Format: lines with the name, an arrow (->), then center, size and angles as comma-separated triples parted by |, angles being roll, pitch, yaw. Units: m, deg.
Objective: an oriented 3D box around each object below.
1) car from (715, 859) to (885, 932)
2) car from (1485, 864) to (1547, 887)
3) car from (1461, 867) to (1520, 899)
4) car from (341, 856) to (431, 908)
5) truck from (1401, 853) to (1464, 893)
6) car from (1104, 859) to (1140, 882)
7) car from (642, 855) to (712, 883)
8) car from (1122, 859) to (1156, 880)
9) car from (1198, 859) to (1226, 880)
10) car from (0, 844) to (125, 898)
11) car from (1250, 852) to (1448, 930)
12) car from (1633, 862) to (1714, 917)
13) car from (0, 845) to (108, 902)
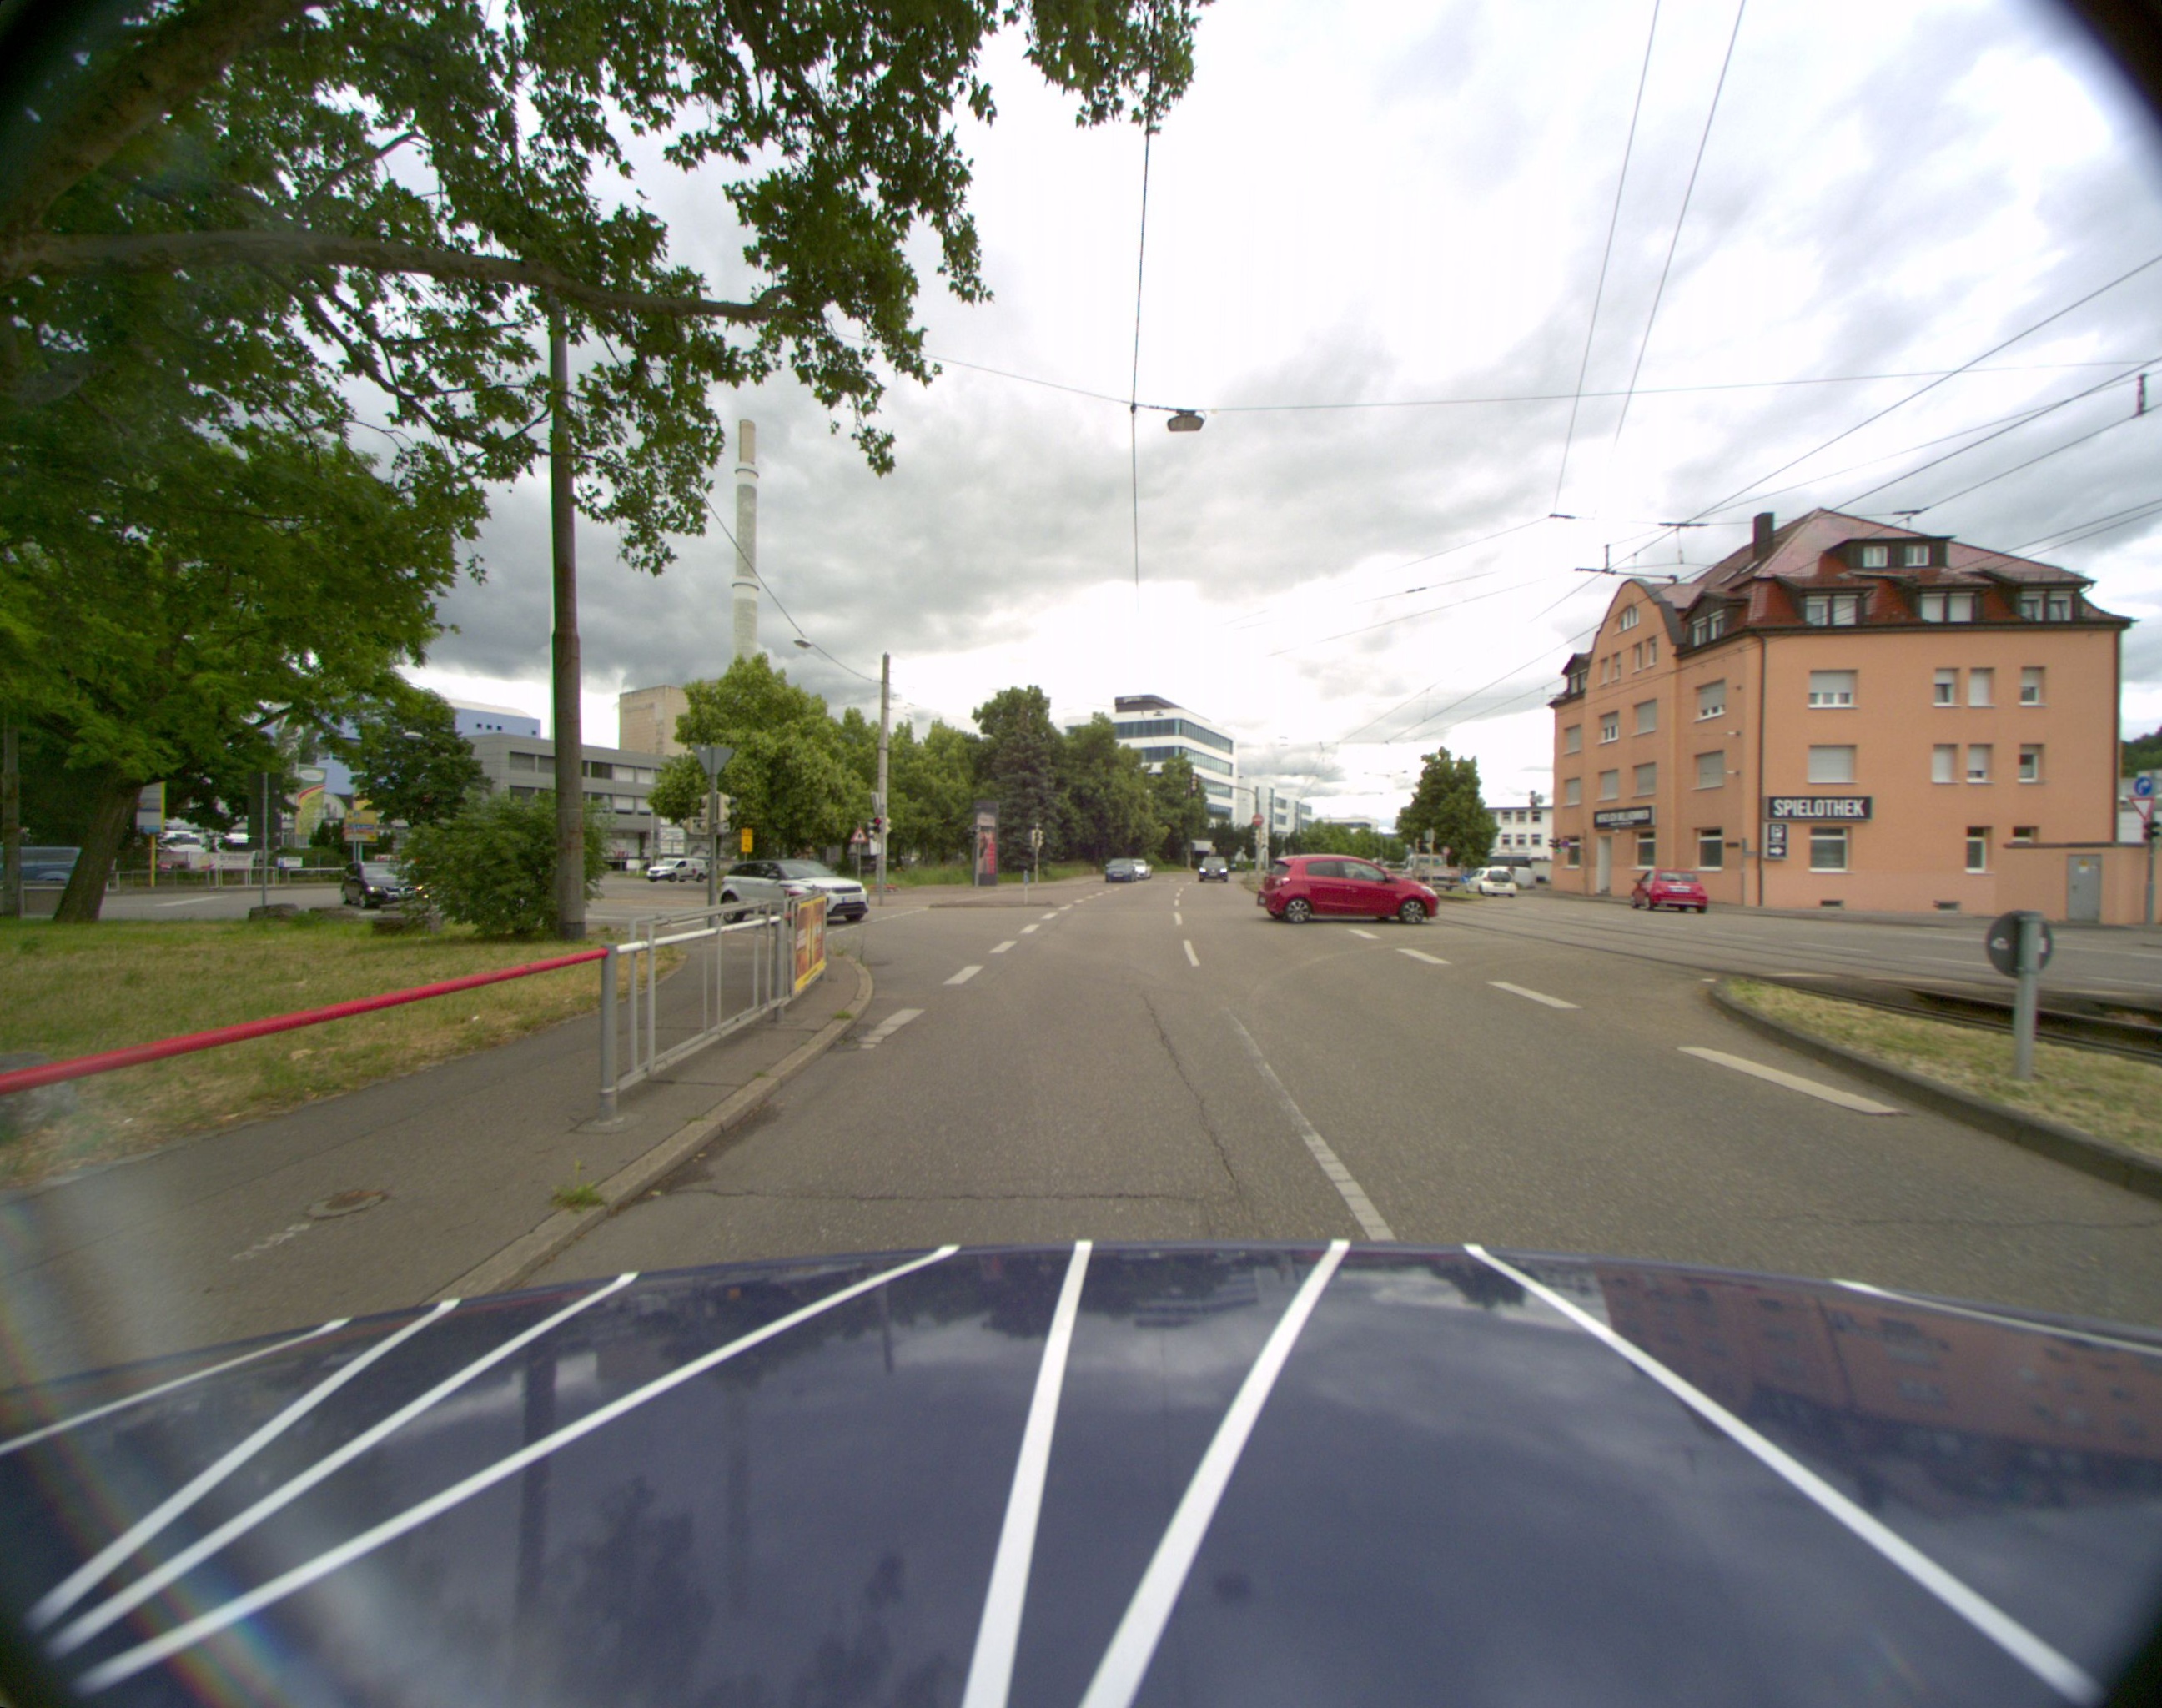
car -> -7.142, 0.963, 19.202 | 4.101, 1.561, 1.921 | 0, 3, 34
car -> 41.748, 2.019, 72.875 | 6.308, 2.089, 1.746 | 0, 0, -23
car -> 21.096, 1.536, 39.250 | 1.596, 1.411, 3.379 | -3, -5, 10
car -> -25.233, 1.003, 27.536 | 4.218, 1.761, 1.837 | -1, -2, 40
truck -> 23.035, 1.177, 50.057 | 2.317, 2.407, 5.659 | 2, 1, 10
car -> 2.609, 0.994, 47.473 | 1.746, 1.383, 3.706 | 0, 0, 11
car -> -30.036, 1.053, 56.694 | 1.997, 1.654, 4.766 | 1, 4, 11
car -> 4.241, 1.103, 54.899 | 1.746, 1.418, 4.170 | 0, 0, 14
car -> 8.551, 1.007, 49.846 | 1.627, 1.324, 3.176 | 0, 0, 6
car -> -39.661, 0.620, 28.211 | 1.829, 1.933, 4.809 | 0, 0, 17
car -> 5.810, 0.775, 16.834 | 3.737, 1.521, 1.768 | 1, 2, 1
car -> 20.922, 1.191, 26.967 | 1.698, 1.517, 4.006 | 1, 4, 30
car -> -39.721, 0.695, 28.023 | 1.996, 2.002, 4.244 | 2, 0, 16
